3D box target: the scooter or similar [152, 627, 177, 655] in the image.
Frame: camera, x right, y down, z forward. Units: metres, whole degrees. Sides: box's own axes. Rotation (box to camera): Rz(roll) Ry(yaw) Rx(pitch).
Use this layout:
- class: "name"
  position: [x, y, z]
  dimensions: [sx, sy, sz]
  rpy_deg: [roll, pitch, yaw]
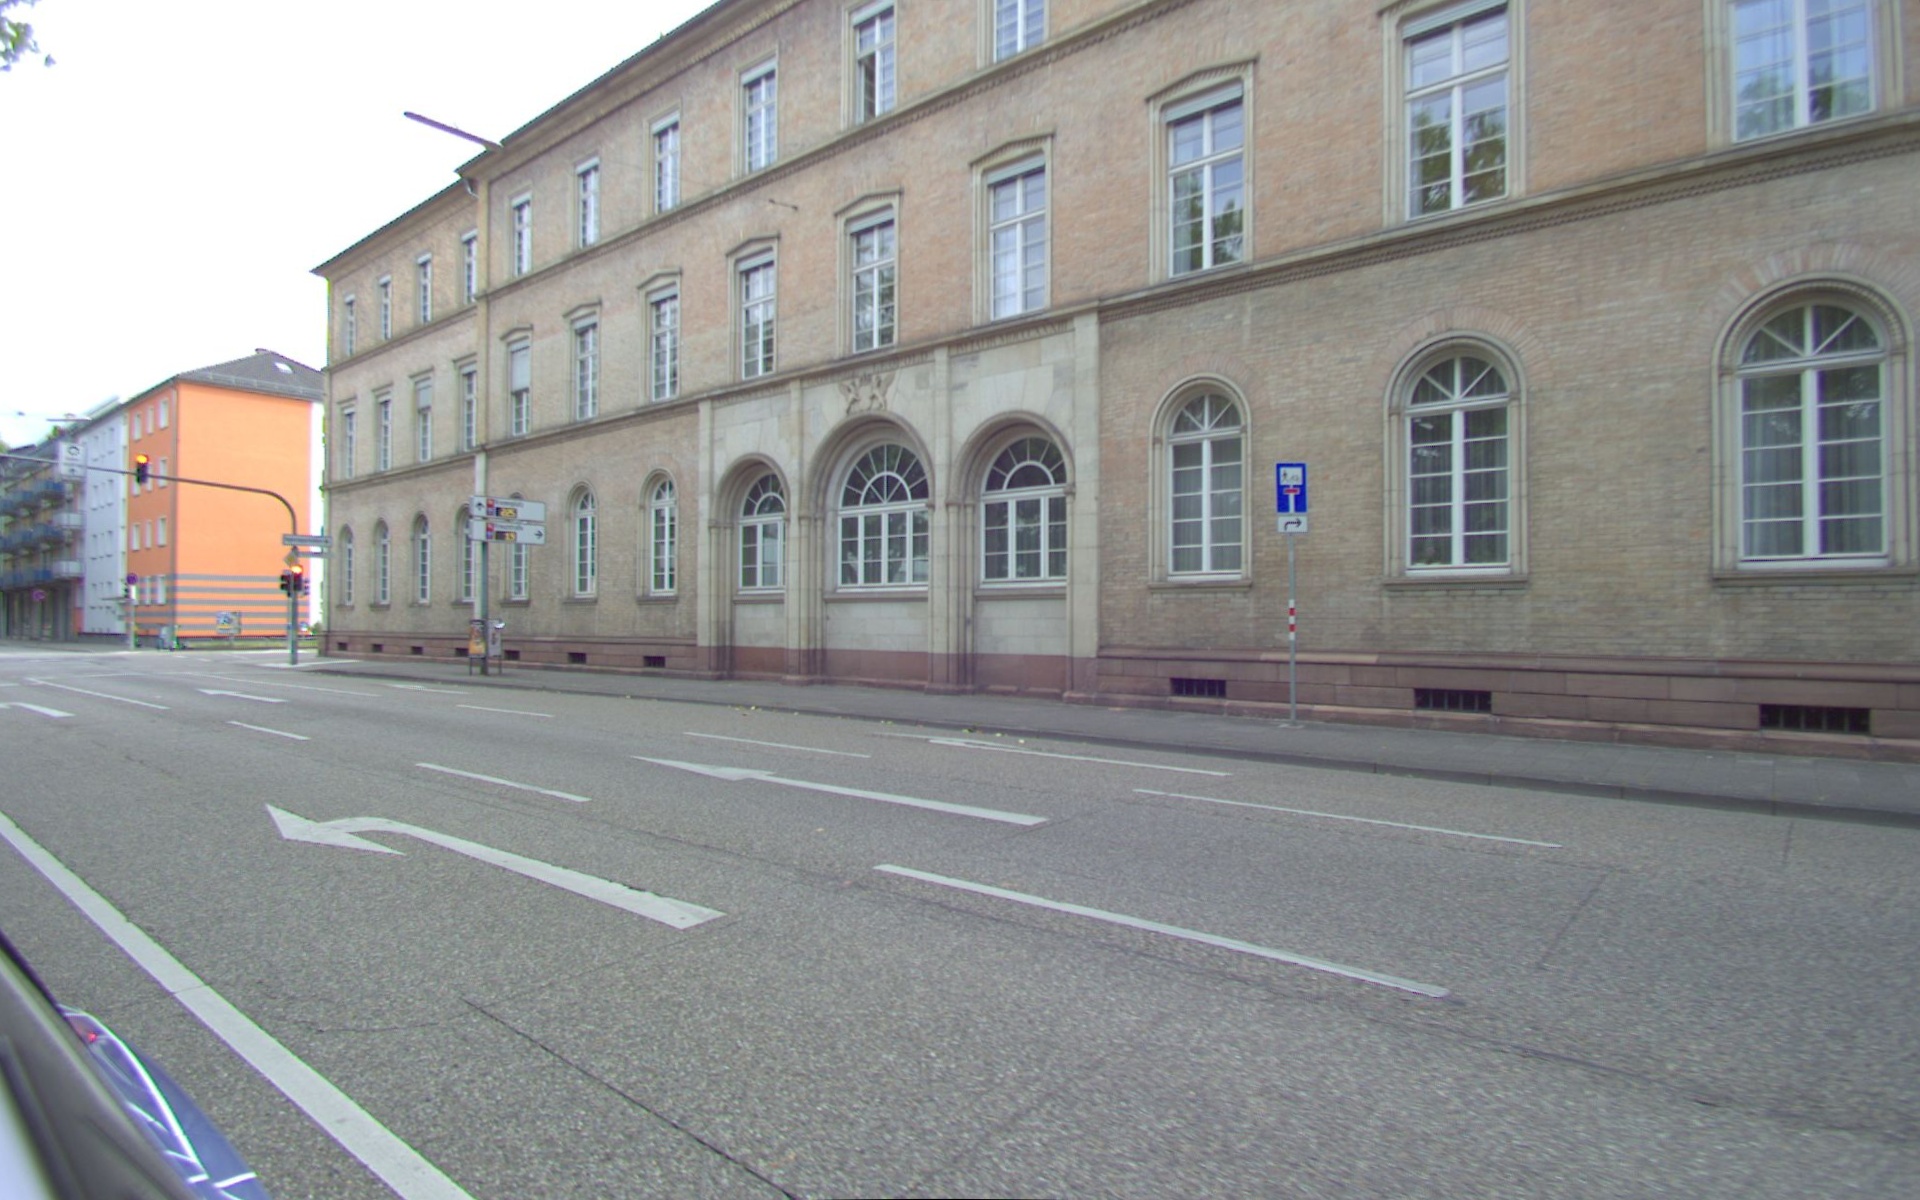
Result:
- class: "scooter or similar"
  position: [-35.063, 1.810, 44.616]
  dimensions: [1.336, 1.188, 0.327]
  rpy_deg: [-2, -1, 27]

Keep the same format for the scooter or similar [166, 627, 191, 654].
- class: "scooter or similar"
  position: [-34.858, 1.803, 45.158]
  dimensions: [1.347, 1.166, 0.327]
  rpy_deg: [-2, -1, 27]

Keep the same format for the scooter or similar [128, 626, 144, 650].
- class: "scooter or similar"
  position: [-39.679, 1.843, 48.724]
  dimensions: [1.353, 1.133, 0.365]
  rpy_deg: [-2, -1, 40]
